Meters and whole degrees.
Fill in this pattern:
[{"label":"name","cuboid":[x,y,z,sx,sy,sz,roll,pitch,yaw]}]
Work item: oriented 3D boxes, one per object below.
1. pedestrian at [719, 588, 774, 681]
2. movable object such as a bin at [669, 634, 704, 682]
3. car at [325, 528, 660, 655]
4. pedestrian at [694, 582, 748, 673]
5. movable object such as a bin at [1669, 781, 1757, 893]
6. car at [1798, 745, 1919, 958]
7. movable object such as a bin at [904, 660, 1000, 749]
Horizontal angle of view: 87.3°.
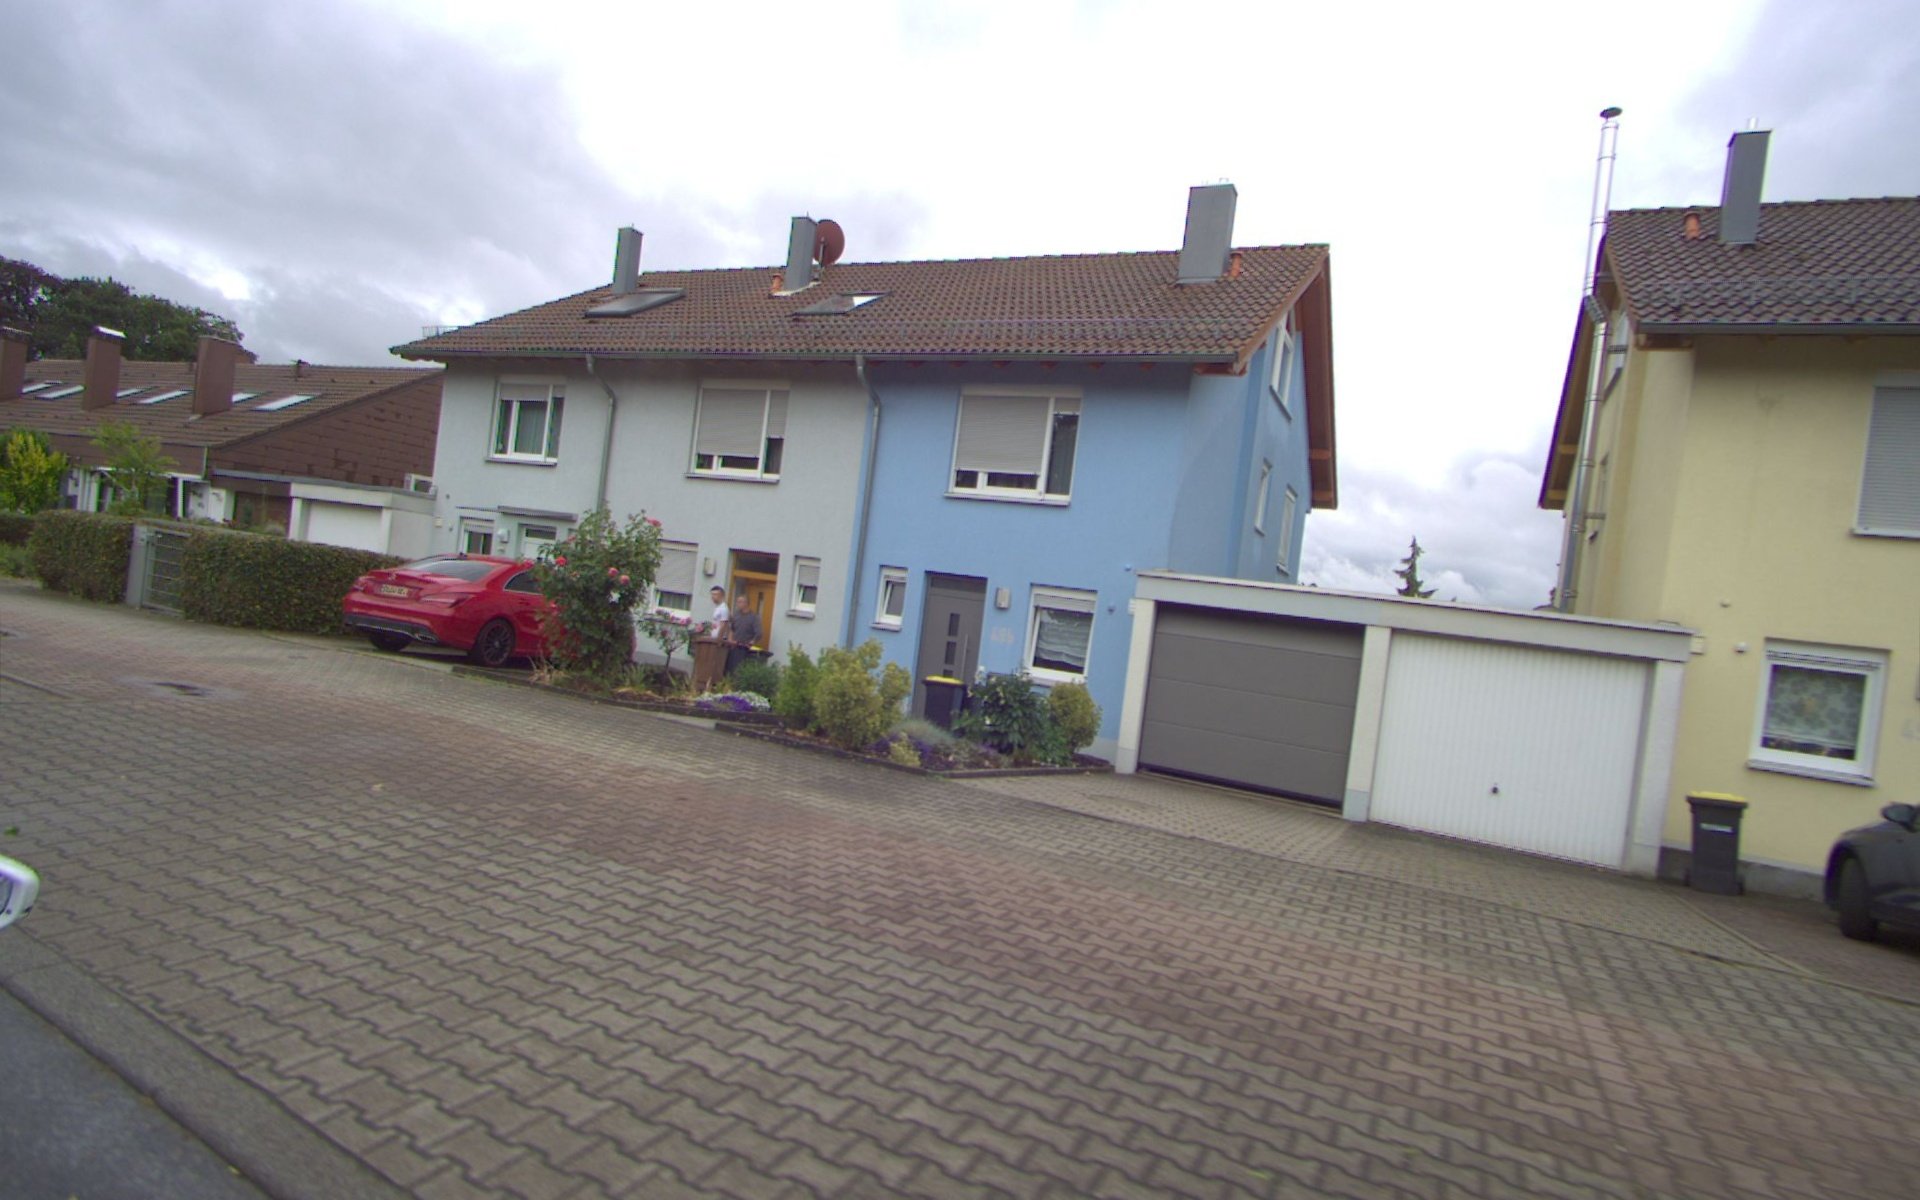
[{"label":"pedestrian","cuboid":[-3.333,0.532,15.716,0.519,1.368,0.537,7,1,13]},{"label":"movable object such as a bin","cuboid":[-3.870,0.819,14.242,0.319,0.634,0.256,8,2,27]},{"label":"car","cuboid":[-6.174,-0.002,13.935,1.647,1.275,4.320,8,-1,16]},{"label":"pedestrian","cuboid":[-3.794,0.433,15.958,0.494,1.368,0.558,6,1,-41]},{"label":"movable object such as a bin","cuboid":[7.125,2.234,9.527,0.362,0.933,0.480,7,-1,-17]},{"label":"car","cuboid":[7.287,1.808,6.410,1.644,1.402,4.006,8,-4,21]},{"label":"movable object such as a bin","cuboid":[-0.095,1.310,12.884,0.803,0.976,0.894,8,1,27]}]
